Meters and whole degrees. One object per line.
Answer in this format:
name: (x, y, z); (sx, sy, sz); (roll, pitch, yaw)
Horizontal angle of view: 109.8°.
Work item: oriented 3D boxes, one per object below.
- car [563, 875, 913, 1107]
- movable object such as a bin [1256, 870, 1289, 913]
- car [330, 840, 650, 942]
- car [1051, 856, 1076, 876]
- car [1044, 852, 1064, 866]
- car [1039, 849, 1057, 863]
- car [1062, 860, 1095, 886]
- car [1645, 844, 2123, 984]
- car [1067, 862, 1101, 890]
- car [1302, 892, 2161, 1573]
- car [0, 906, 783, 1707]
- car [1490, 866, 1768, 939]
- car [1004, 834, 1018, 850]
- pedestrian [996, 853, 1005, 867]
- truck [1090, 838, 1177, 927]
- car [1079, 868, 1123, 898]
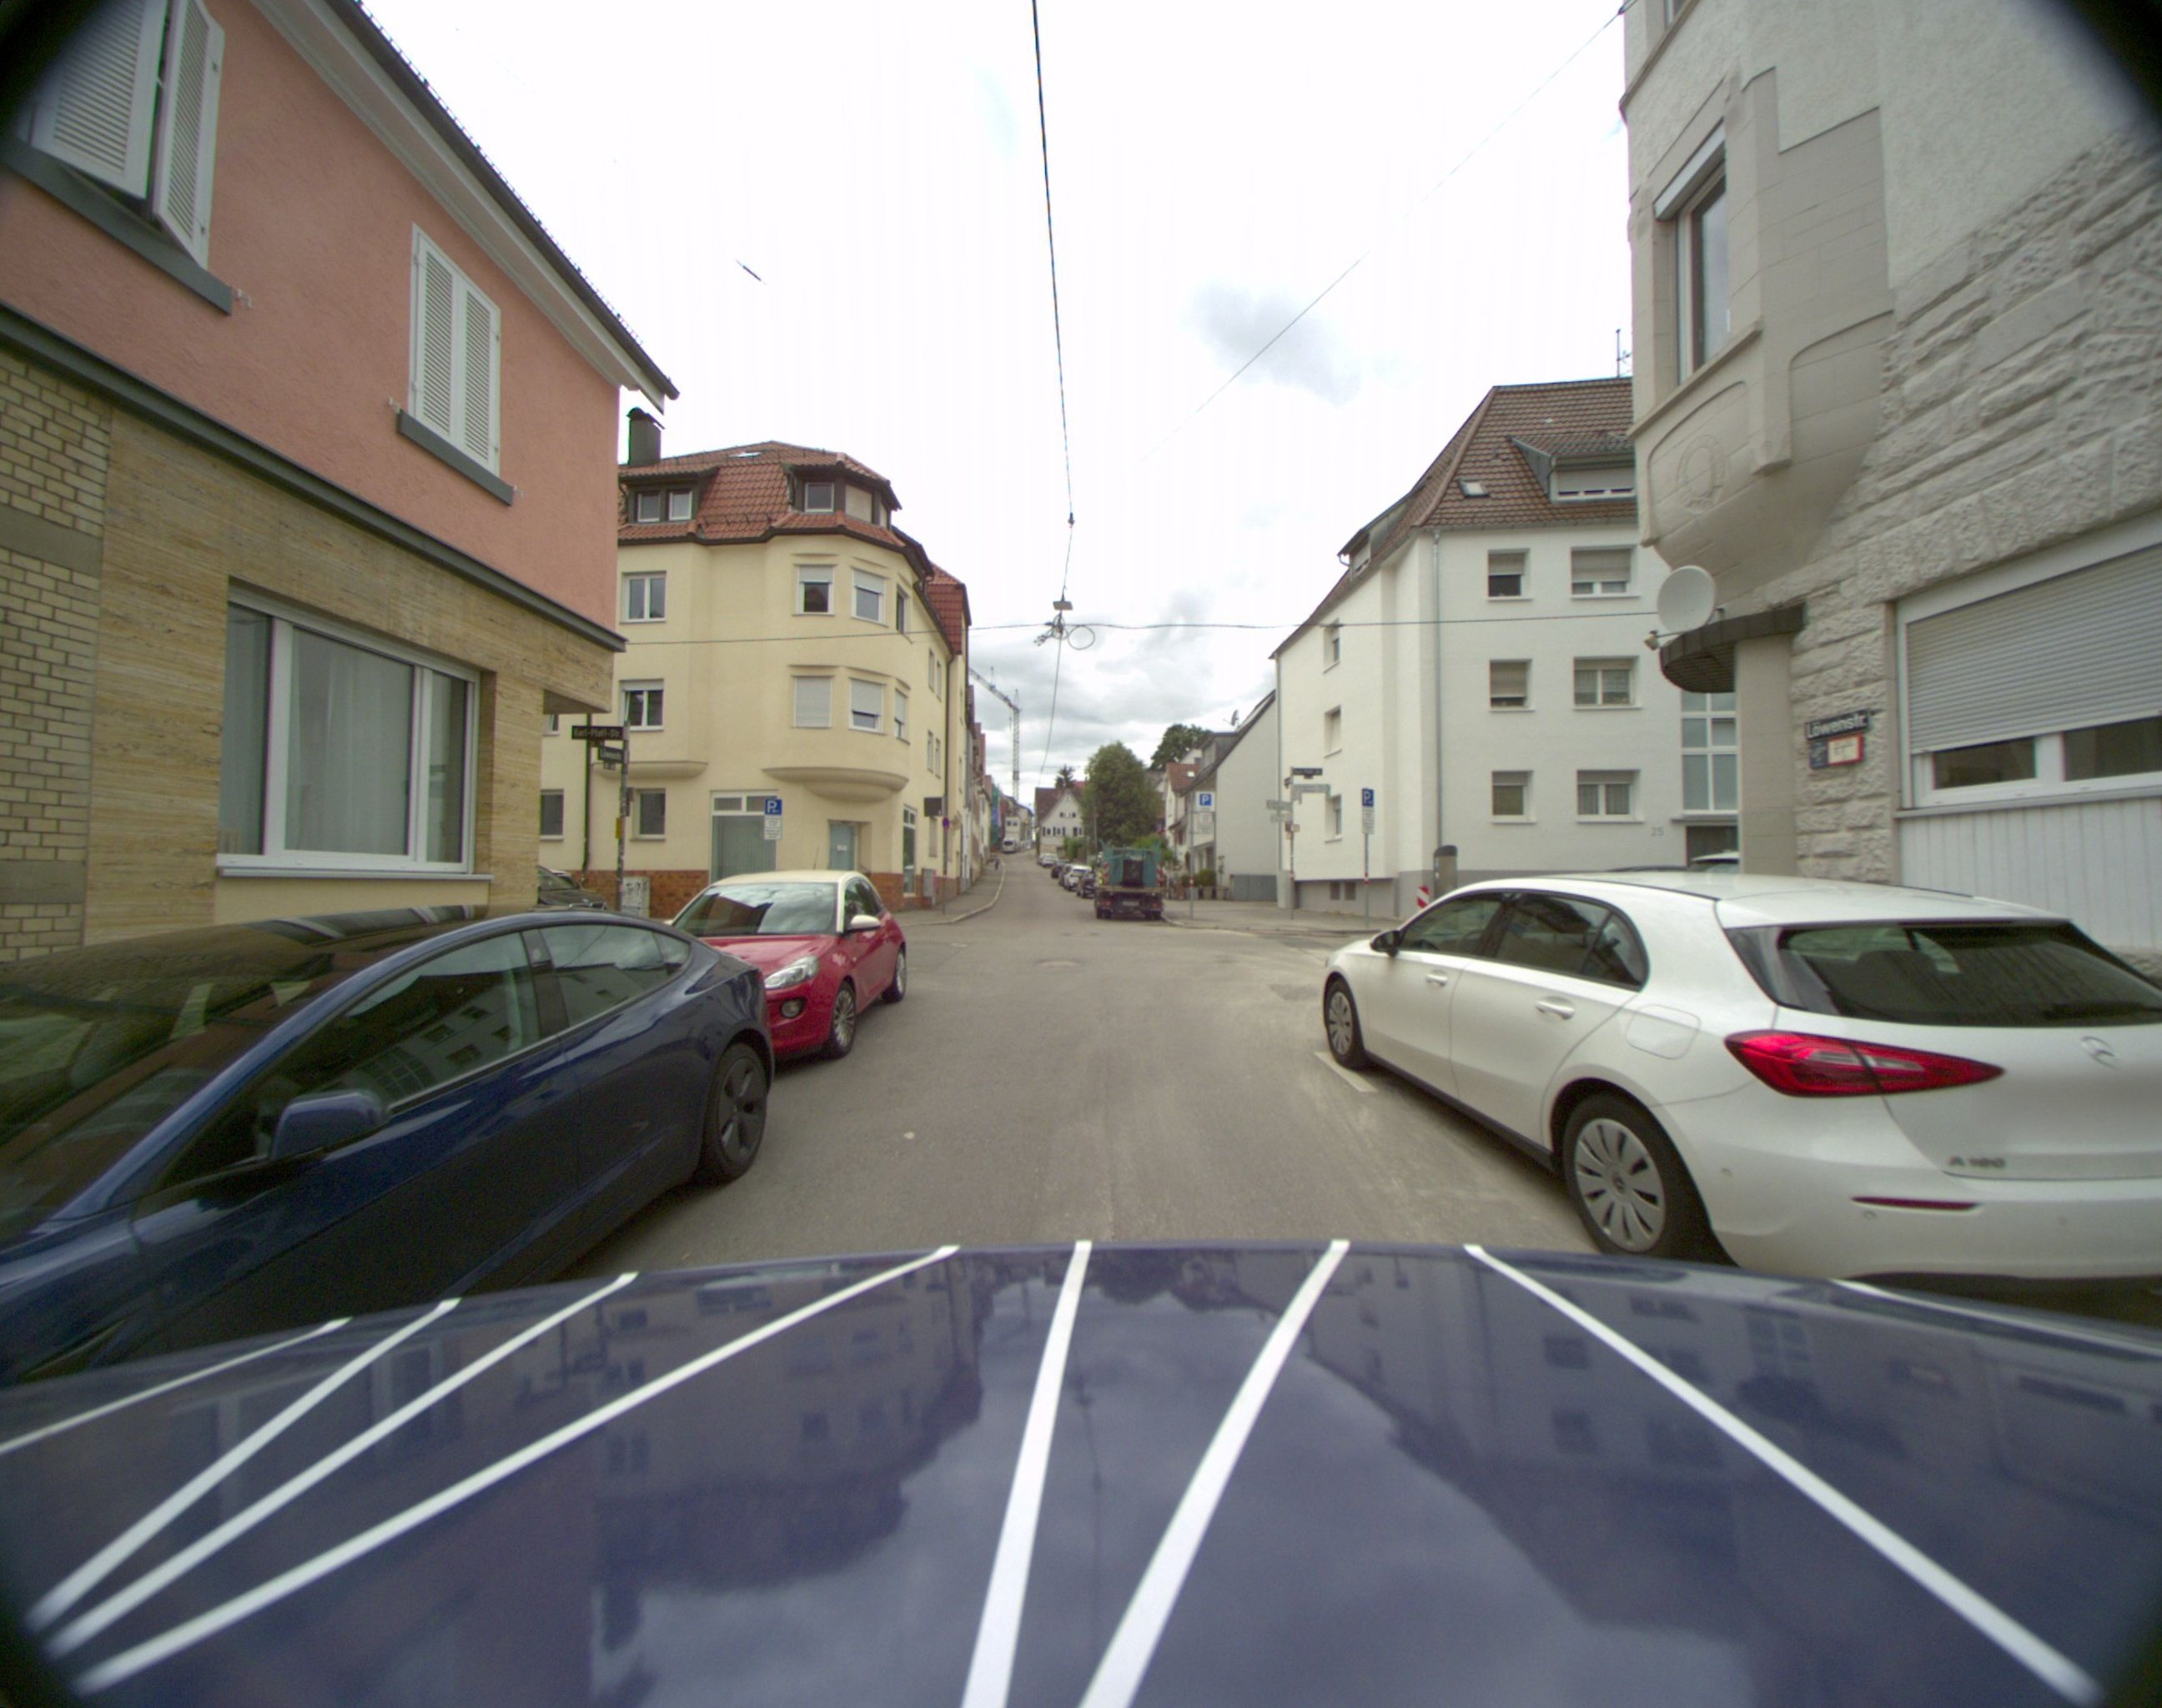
car: (-2.721, 0.972, 6.962); (1.672, 1.470, 3.625); (0, 0, -2)
movable object such as a bin: (7.447, 1.446, 29.590); (1.010, 1.608, 1.002); (1, -1, -1)
car: (-9.783, 0.578, 12.788); (4.023, 1.534, 1.824); (1, 0, 3)
car: (-1.585, 1.011, 66.890); (1.856, 1.641, 3.943); (2, 0, -6)
car: (-3.039, 0.516, 85.452); (1.856, 1.441, 3.943); (2, 0, -6)
car: (-4.019, 0.254, 91.491); (1.856, 1.441, 3.942); (2, 2, -6)
car: (-0.239, 1.334, 53.748); (1.856, 1.641, 3.943); (2, 0, -6)
car: (9.949, 0.726, 9.720); (4.023, 1.589, 1.827); (-1, -1, 3)
car: (0.142, 1.388, 48.748); (1.855, 1.640, 3.945); (2, -1, -4)
car: (2.665, 1.005, 3.941); (1.703, 1.406, 4.240); (0, 0, -2)
car: (-2.601, 1.003, 2.032); (1.857, 1.395, 4.292); (-1, 0, 0)
car: (11.106, 0.998, 15.681); (4.293, 1.383, 1.827); (-1, -3, 4)
car: (-11.950, -2.092, 129.291); (2.194, 2.630, 5.822); (2, 1, -6)
pedestrian: (-8.218, 0.623, 77.616); (0.757, 1.480, 0.566); (0, 0, -19)
truck: (1.566, 0.939, 25.292); (2.316, 2.536, 6.289); (2, -2, -1)
car: (1.001, 1.471, 39.723); (1.855, 1.454, 3.945); (2, -1, -4)
